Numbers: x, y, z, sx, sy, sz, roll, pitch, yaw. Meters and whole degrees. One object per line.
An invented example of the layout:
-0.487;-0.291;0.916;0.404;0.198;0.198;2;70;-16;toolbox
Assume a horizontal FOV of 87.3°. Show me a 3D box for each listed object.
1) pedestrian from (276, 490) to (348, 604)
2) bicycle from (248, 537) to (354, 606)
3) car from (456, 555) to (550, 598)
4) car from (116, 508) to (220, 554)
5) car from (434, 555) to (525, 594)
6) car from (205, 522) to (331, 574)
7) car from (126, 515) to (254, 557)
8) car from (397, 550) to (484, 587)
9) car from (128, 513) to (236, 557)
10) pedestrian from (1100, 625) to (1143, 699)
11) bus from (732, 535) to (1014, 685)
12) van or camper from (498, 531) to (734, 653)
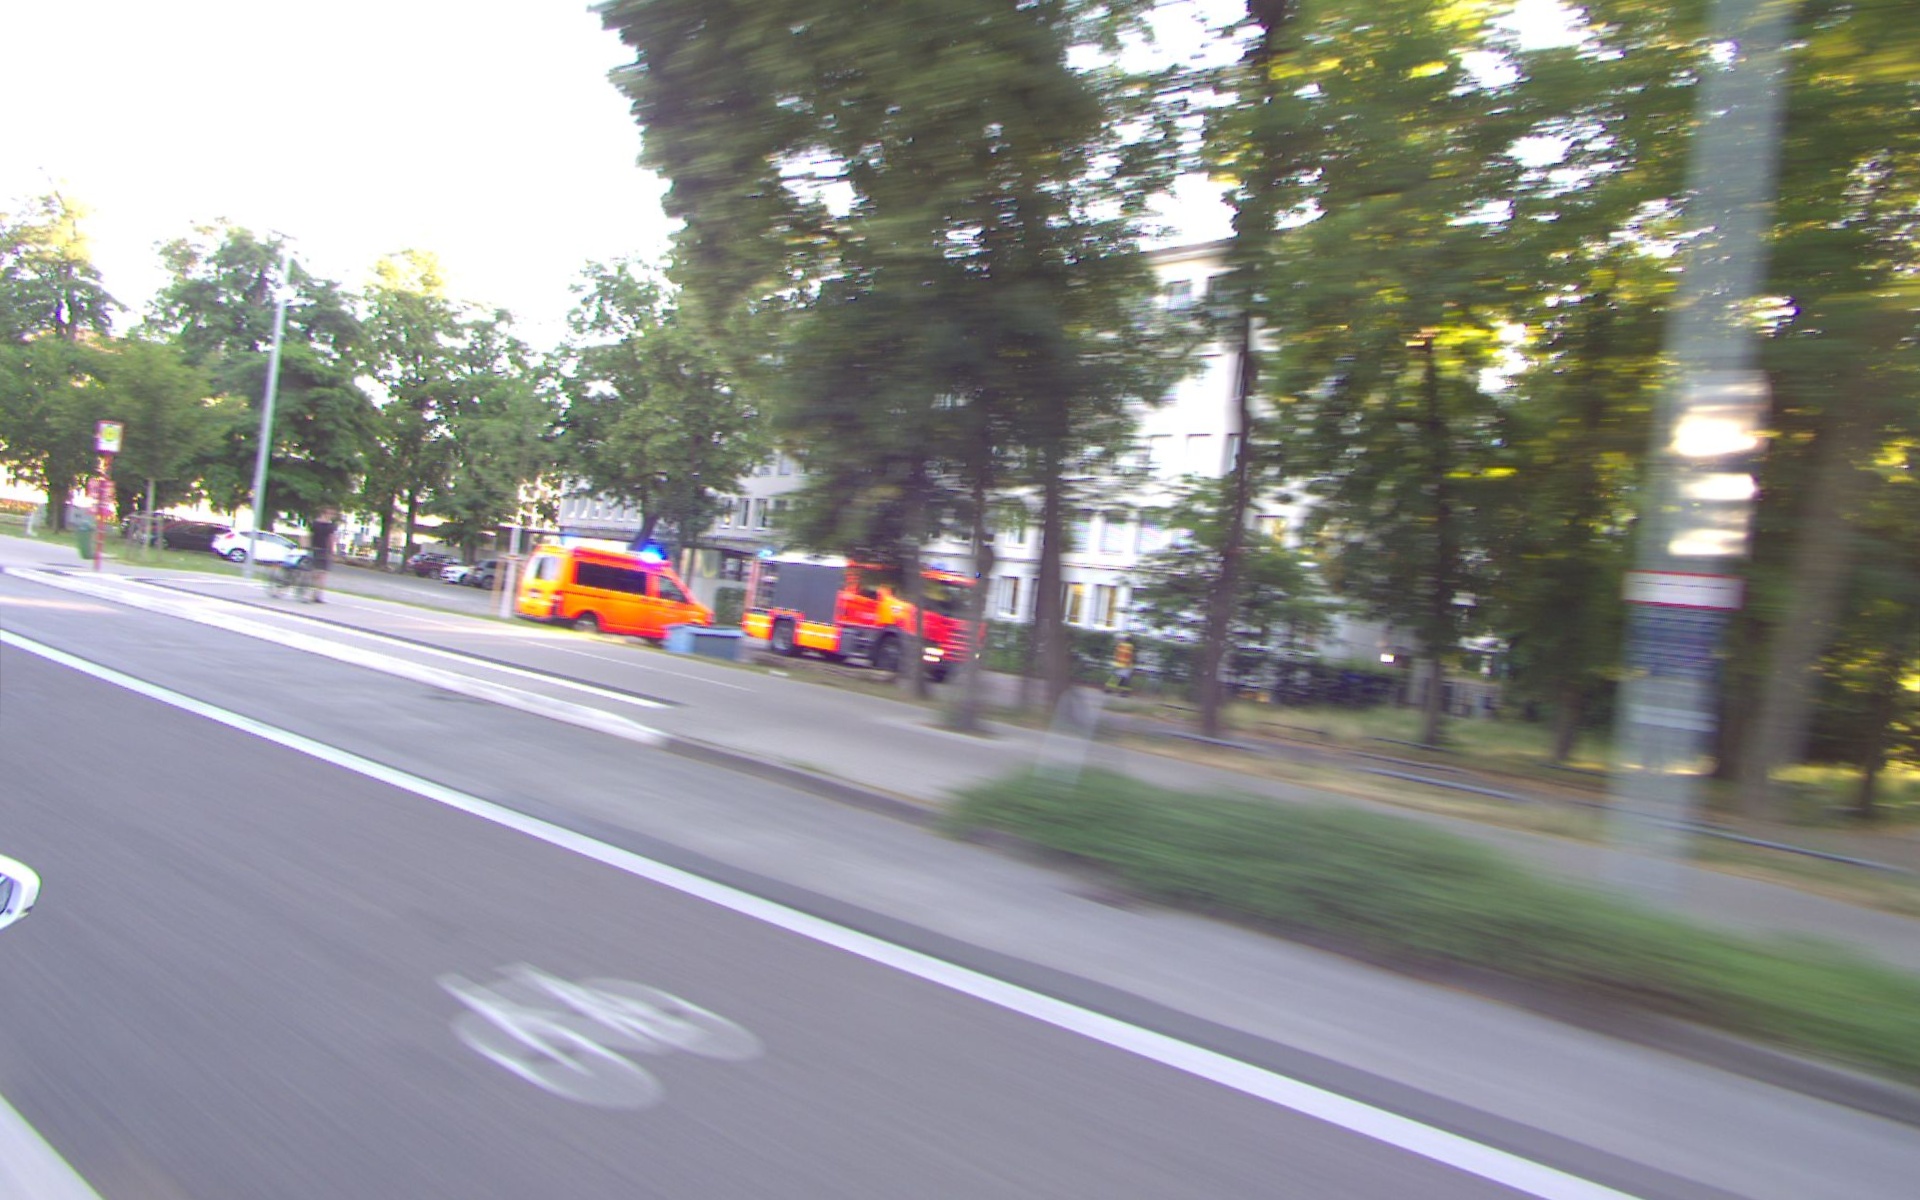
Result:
-12.303;-0.995;19.109;0.684;2.037;0.724;7;-1;32;pedestrian
-12.584;-0.549;19.201;1.935;1.112;0.831;6;2;28;bicycle
-24.226;-1.231;53.383;1.888;1.635;3.982;5;-3;43;car
-41.838;-3.628;53.177;1.809;1.714;3.898;6;-2;39;car
-26.170;-1.394;54.831;1.808;1.492;3.984;6;-2;41;car
-29.832;-2.205;43.452;1.883;1.555;3.988;6;-2;38;car
-37.373;-3.086;48.905;1.872;1.466;4.566;4;-1;37;car
-30.162;-1.825;58.507;1.875;1.458;3.986;6;-2;40;car
-39.644;-3.283;51.313;1.760;1.580;3.983;7;-1;41;car
4.727;1.812;29.379;0.770;2.037;0.762;7;-1;32;pedestrian
-2.645;0.171;28.155;7.855;3.233;2.985;6;-2;42;bus
-8.338;-0.133;24.740;2.264;2.270;4.808;6;-2;43;van or camper
